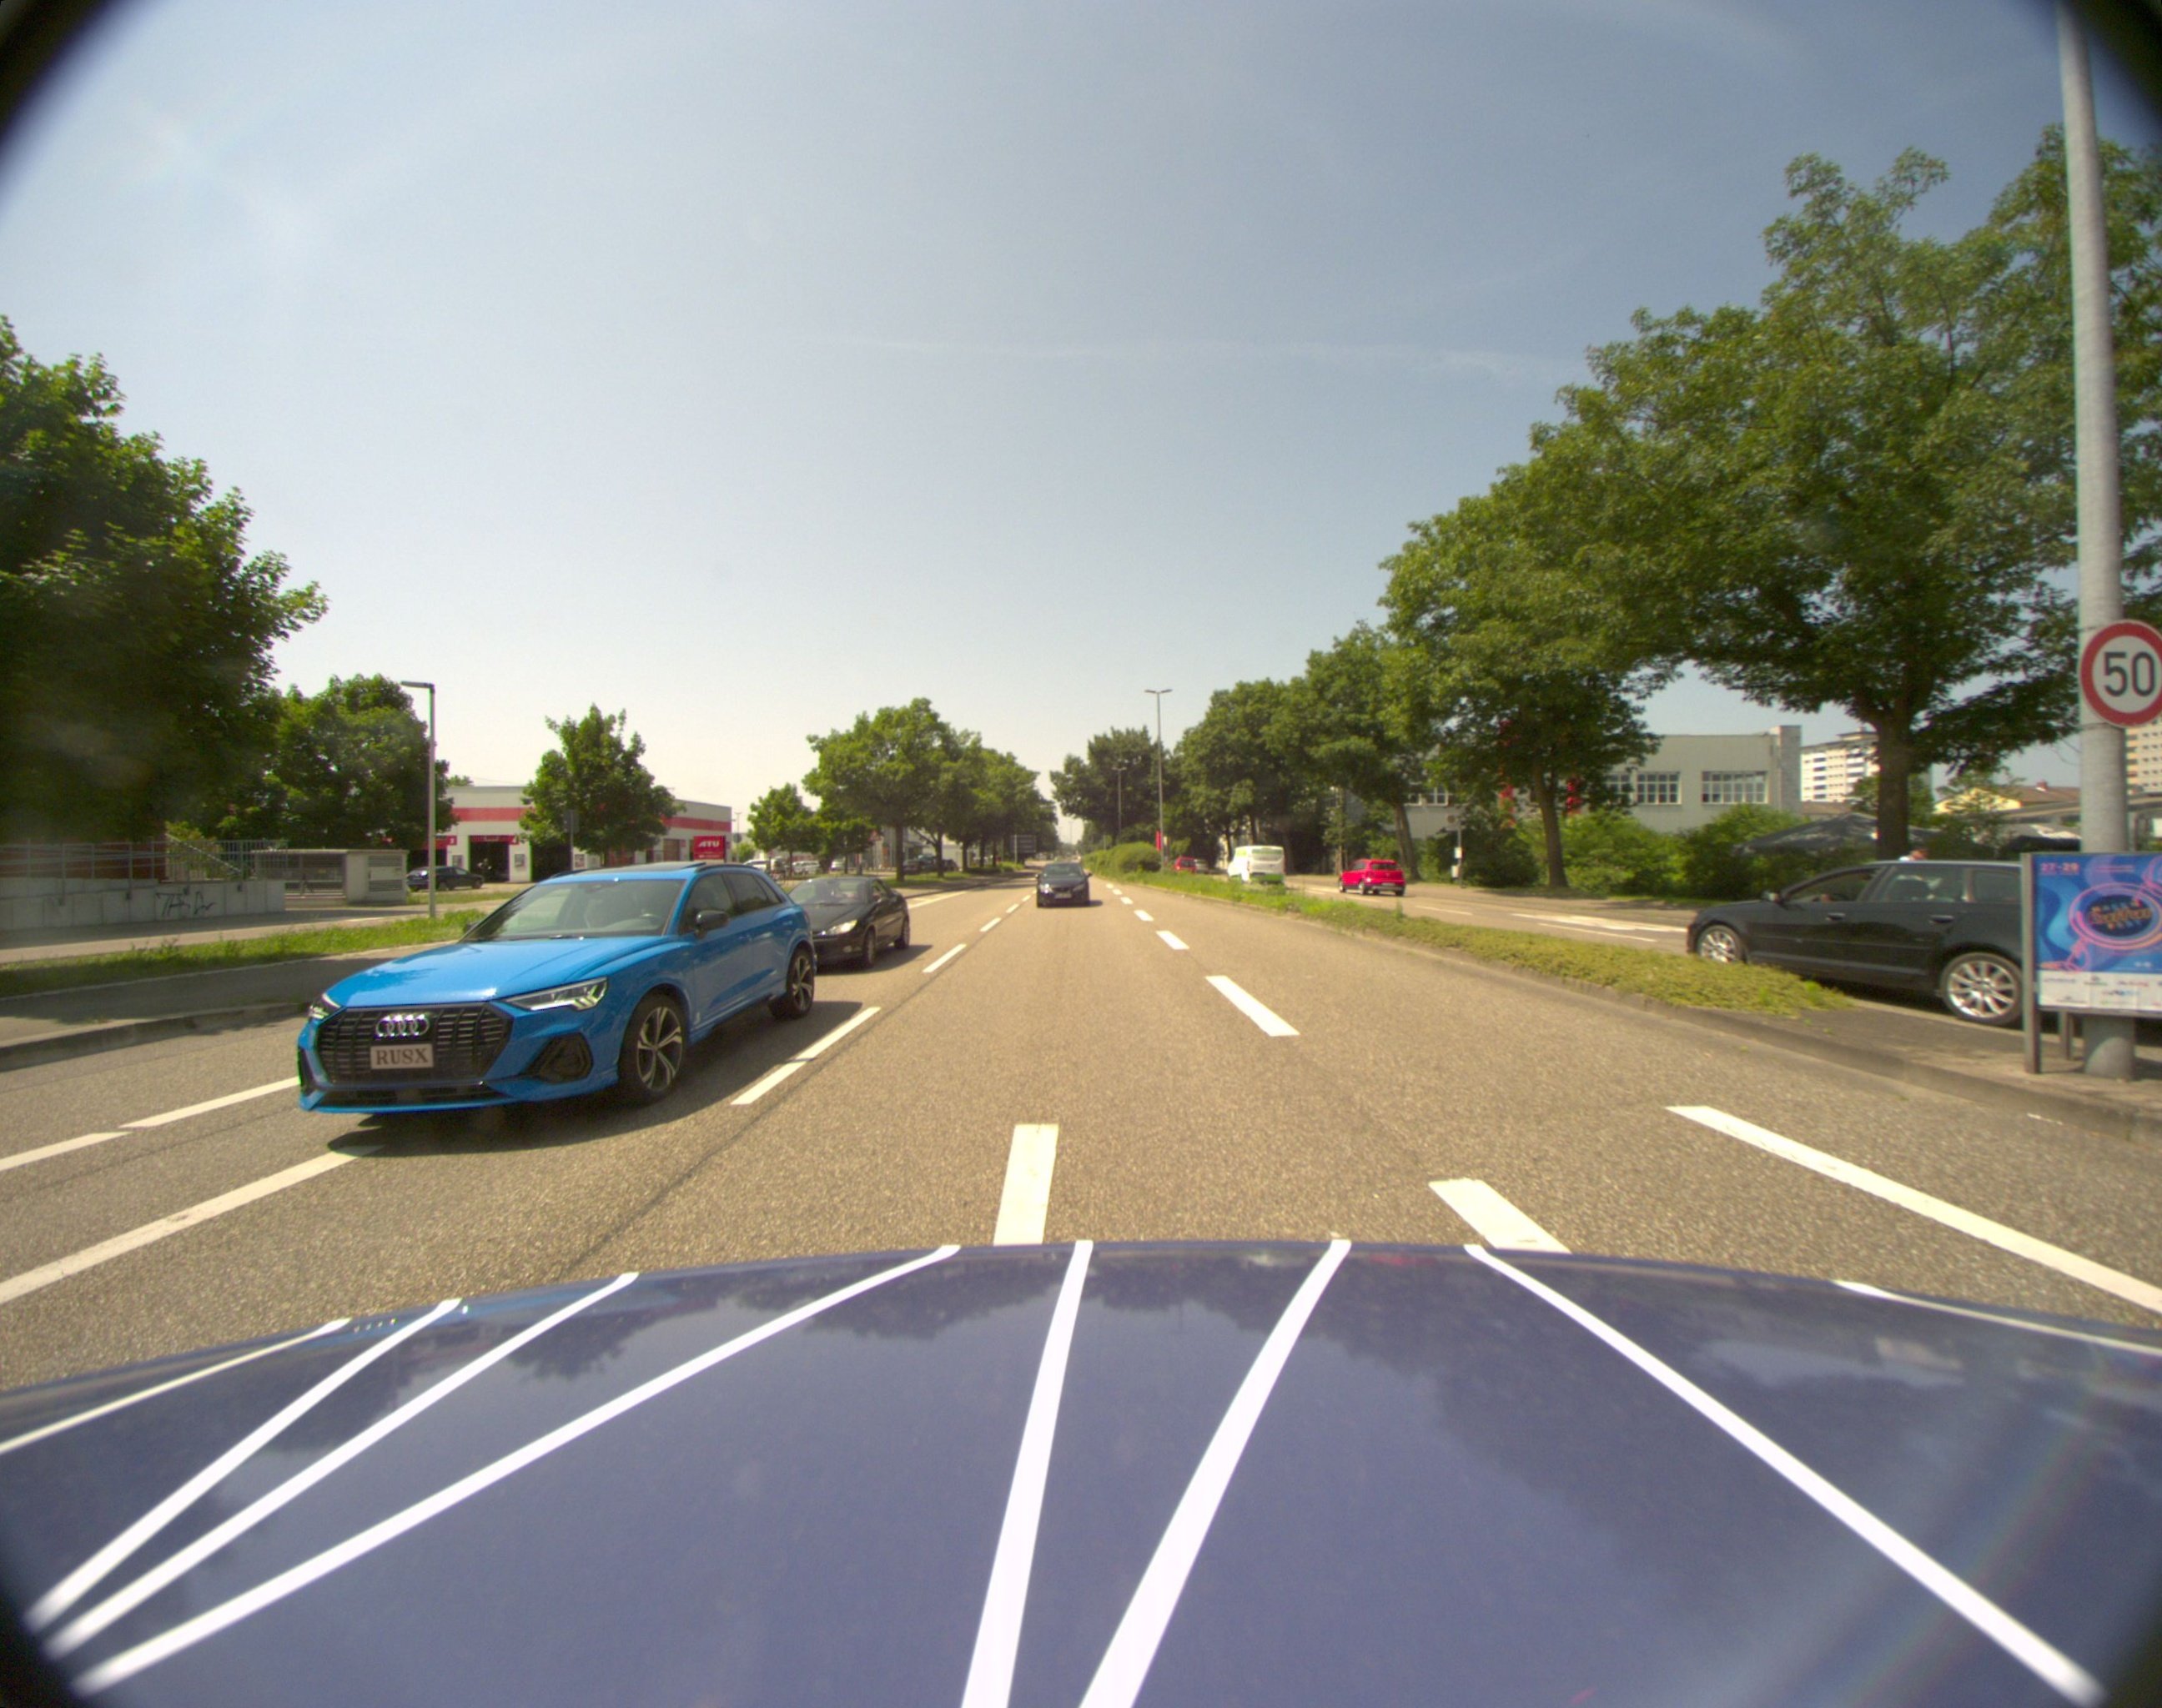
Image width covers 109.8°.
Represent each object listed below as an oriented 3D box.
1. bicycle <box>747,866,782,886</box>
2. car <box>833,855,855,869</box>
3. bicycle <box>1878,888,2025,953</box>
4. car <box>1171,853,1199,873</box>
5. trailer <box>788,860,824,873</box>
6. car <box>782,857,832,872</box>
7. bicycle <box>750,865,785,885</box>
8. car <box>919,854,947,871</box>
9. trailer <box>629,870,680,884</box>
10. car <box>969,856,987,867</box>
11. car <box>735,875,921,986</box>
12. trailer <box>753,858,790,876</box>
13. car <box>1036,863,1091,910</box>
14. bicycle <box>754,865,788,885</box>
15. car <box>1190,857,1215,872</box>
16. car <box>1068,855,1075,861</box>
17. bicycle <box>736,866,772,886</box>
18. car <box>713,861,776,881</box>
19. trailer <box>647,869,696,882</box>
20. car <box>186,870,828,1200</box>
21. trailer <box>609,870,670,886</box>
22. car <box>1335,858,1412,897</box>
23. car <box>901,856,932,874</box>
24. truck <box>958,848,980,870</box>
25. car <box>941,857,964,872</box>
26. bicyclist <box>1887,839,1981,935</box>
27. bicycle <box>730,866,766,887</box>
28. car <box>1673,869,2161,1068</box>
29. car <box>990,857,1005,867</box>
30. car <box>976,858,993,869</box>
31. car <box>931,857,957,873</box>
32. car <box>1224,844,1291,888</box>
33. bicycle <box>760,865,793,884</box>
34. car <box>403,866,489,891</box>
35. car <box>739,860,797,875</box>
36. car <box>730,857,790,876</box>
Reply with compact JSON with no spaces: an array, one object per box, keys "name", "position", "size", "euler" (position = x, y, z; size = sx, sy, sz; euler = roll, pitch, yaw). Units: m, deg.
[{"name":"bicycle","position":[-18.192,1.248,43.725],"size":[1.784,1.117,0.514],"euler":[0,0,-6]},{"name":"car","position":[-27.414,0.884,87.977],"size":[1.759,1.586,3.997],"euler":[0,0,-7]},{"name":"bicycle","position":[14.903,1.116,13.077],"size":[0.619,0.963,1.660],"euler":[0,0,1]},{"name":"car","position":[8.149,0.697,59.953],"size":[1.584,1.433,3.608],"euler":[2,0,-1]},{"name":"trailer","position":[-24.294,1.092,67.269],"size":[2.642,1.046,1.578],"euler":[0,0,-2]},{"name":"car","position":[-25.085,0.975,69.604],"size":[3.998,1.293,1.689],"euler":[0,0,-3]},{"name":"bicycle","position":[-18.286,1.212,44.366],"size":[1.784,1.117,0.514],"euler":[0,0,-6]},{"name":"car","position":[-13.421,0.730,68.932],"size":[1.719,1.458,4.000],"euler":[0,0,1]},{"name":"trailer","position":[-24.120,1.281,43.030],"size":[2.137,0.757,1.267],"euler":[-1,0,1]},{"name":"car","position":[-13.300,0.971,97.843],"size":[1.719,1.458,4.000],"euler":[0,0,1]},{"name":"car","position":[-3.854,1.097,12.326],"size":[1.642,1.336,4.000],"euler":[-3,0,0]},{"name":"trailer","position":[-27.281,1.143,67.065],"size":[2.642,1.518,1.415],"euler":[0,0,-2]},{"name":"car","position":[-0.548,1.011,25.067],"size":[1.642,1.395,4.000],"euler":[0,0,-1]},{"name":"bicycle","position":[-18.377,1.234,45.085],"size":[1.784,1.117,0.514],"euler":[0,0,-6]},{"name":"car","position":[11.964,1.017,74.784],"size":[1.753,1.443,4.133],"euler":[2,0,0]},{"name":"car","position":[-2.989,1.212,235.908],"size":[1.999,1.692,4.000],"euler":[0,0,0]},{"name":"bicycle","position":[-18.463,1.226,42.980],"size":[1.784,1.117,0.514],"euler":[0,0,-6]},{"name":"car","position":[-25.500,1.282,57.658],"size":[3.998,1.394,1.747],"euler":[0,0,-2]},{"name":"trailer","position":[-24.118,1.255,44.765],"size":[2.137,0.757,1.394],"euler":[-1,0,1]},{"name":"car","position":[-3.719,0.993,6.163],"size":[1.842,1.586,4.400],"euler":[-1,0,0]},{"name":"trailer","position":[-23.910,1.297,41.181],"size":[2.467,0.757,1.449],"euler":[-1,0,1]},{"name":"car","position":[12.099,0.940,31.699],"size":[1.710,1.444,3.891],"euler":[2,0,0]},{"name":"car","position":[-13.508,0.878,62.704],"size":[1.642,1.363,4.000],"euler":[0,0,1]},{"name":"truck","position":[-13.534,0.620,92.008],"size":[1.904,2.552,4.000],"euler":[0,0,2]},{"name":"car","position":[-13.553,1.058,80.279],"size":[1.719,1.504,4.000],"euler":[0,0,1]},{"name":"bicyclist","position":[14.902,0.554,13.301],"size":[0.609,1.621,0.923],"euler":[0,1,0]},{"name":"bicycle","position":[-18.548,1.243,42.353],"size":[1.784,1.117,0.514],"euler":[0,0,-6]},{"name":"car","position":[8.269,0.886,7.459],"size":[1.683,1.331,3.999],"euler":[2,0,-1]},{"name":"car","position":[-13.006,1.198,118.440],"size":[1.719,1.458,4.000],"euler":[0,0,1]},{"name":"car","position":[-13.267,1.288,104.688],"size":[1.719,1.458,4.000],"euler":[0,0,1]},{"name":"car","position":[-13.326,1.082,74.105],"size":[1.719,1.511,4.000],"euler":[0,0,1]},{"name":"car","position":[8.419,0.564,36.792],"size":[1.999,1.934,4.908],"euler":[2,0,-1]},{"name":"bicycle","position":[-18.412,1.226,45.915],"size":[1.784,1.117,0.514],"euler":[0,0,-6]},{"name":"car","position":[-38.159,1.460,45.822],"size":[1.717,1.364,4.145],"euler":[0,0,0]},{"name":"car","position":[-25.595,1.097,62.256],"size":[3.998,1.201,1.747],"euler":[0,0,-3]},{"name":"car","position":[-25.272,0.978,59.887],"size":[3.998,1.394,1.747],"euler":[0,0,-3]}]
